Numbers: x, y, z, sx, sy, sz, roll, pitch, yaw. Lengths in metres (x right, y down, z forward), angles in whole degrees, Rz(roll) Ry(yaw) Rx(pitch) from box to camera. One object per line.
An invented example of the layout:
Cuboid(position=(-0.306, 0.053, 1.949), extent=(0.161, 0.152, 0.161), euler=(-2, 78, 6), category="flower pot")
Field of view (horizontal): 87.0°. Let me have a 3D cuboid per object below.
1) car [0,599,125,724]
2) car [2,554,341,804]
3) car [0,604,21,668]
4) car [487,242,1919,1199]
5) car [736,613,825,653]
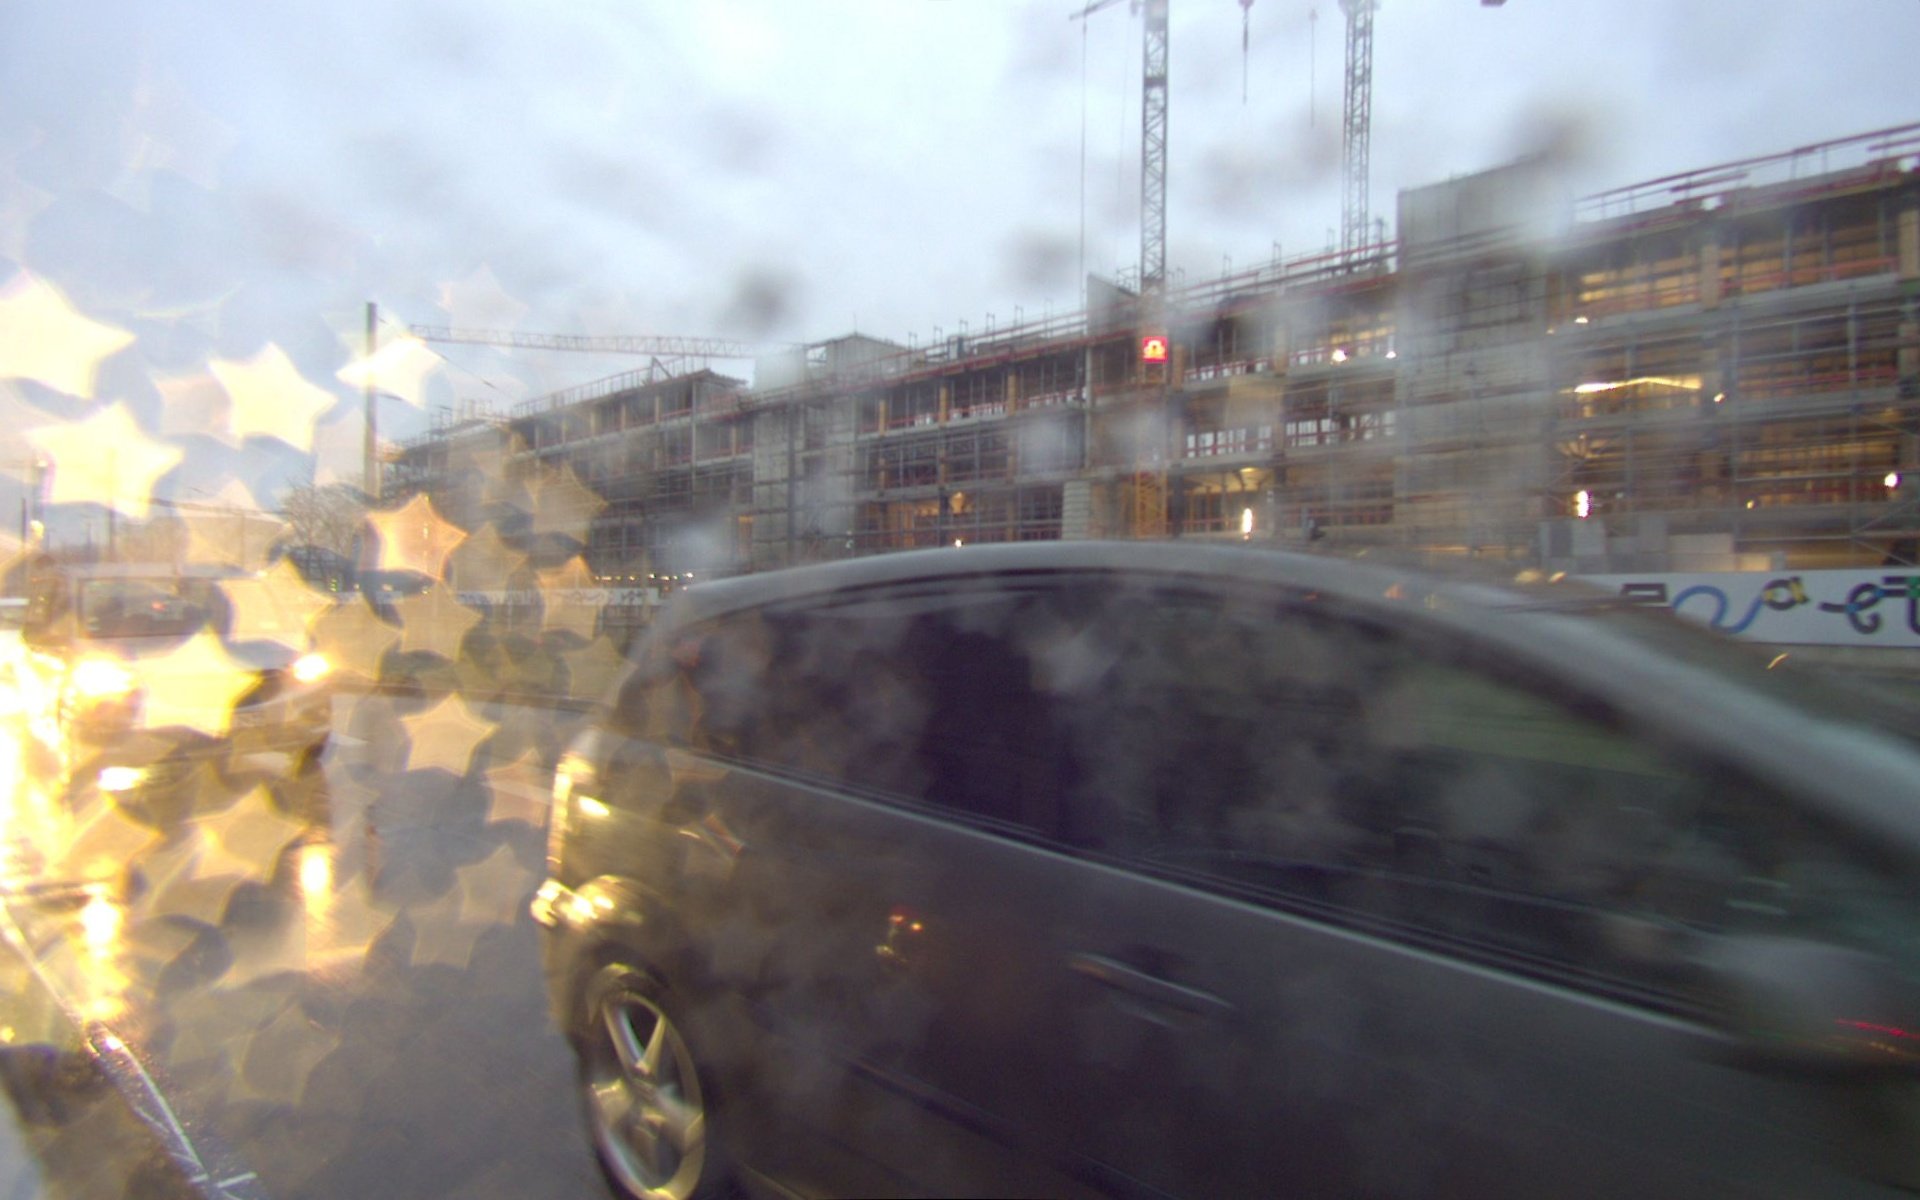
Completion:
Cuboid(position=(-14.359, 0.829, 15.450), extent=(4.322, 1.666, 1.820), euler=(0, 1, 41), category="car")
Cuboid(position=(-7.219, 0.534, 9.114), extent=(4.001, 1.746, 1.833), euler=(0, 1, 43), category="car")
Cuboid(position=(-25.570, 0.902, 25.896), extent=(3.997, 1.567, 1.821), euler=(0, 1, 41), category="car")
Cuboid(position=(0.910, 0.483, 1.940), extent=(3.996, 1.606, 1.742), euler=(0, 1, 39), category="car")
Cuboid(position=(-8.493, 1.522, 47.742), extent=(4.080, 1.700, 1.933), euler=(0, 1, 40), category="car")
